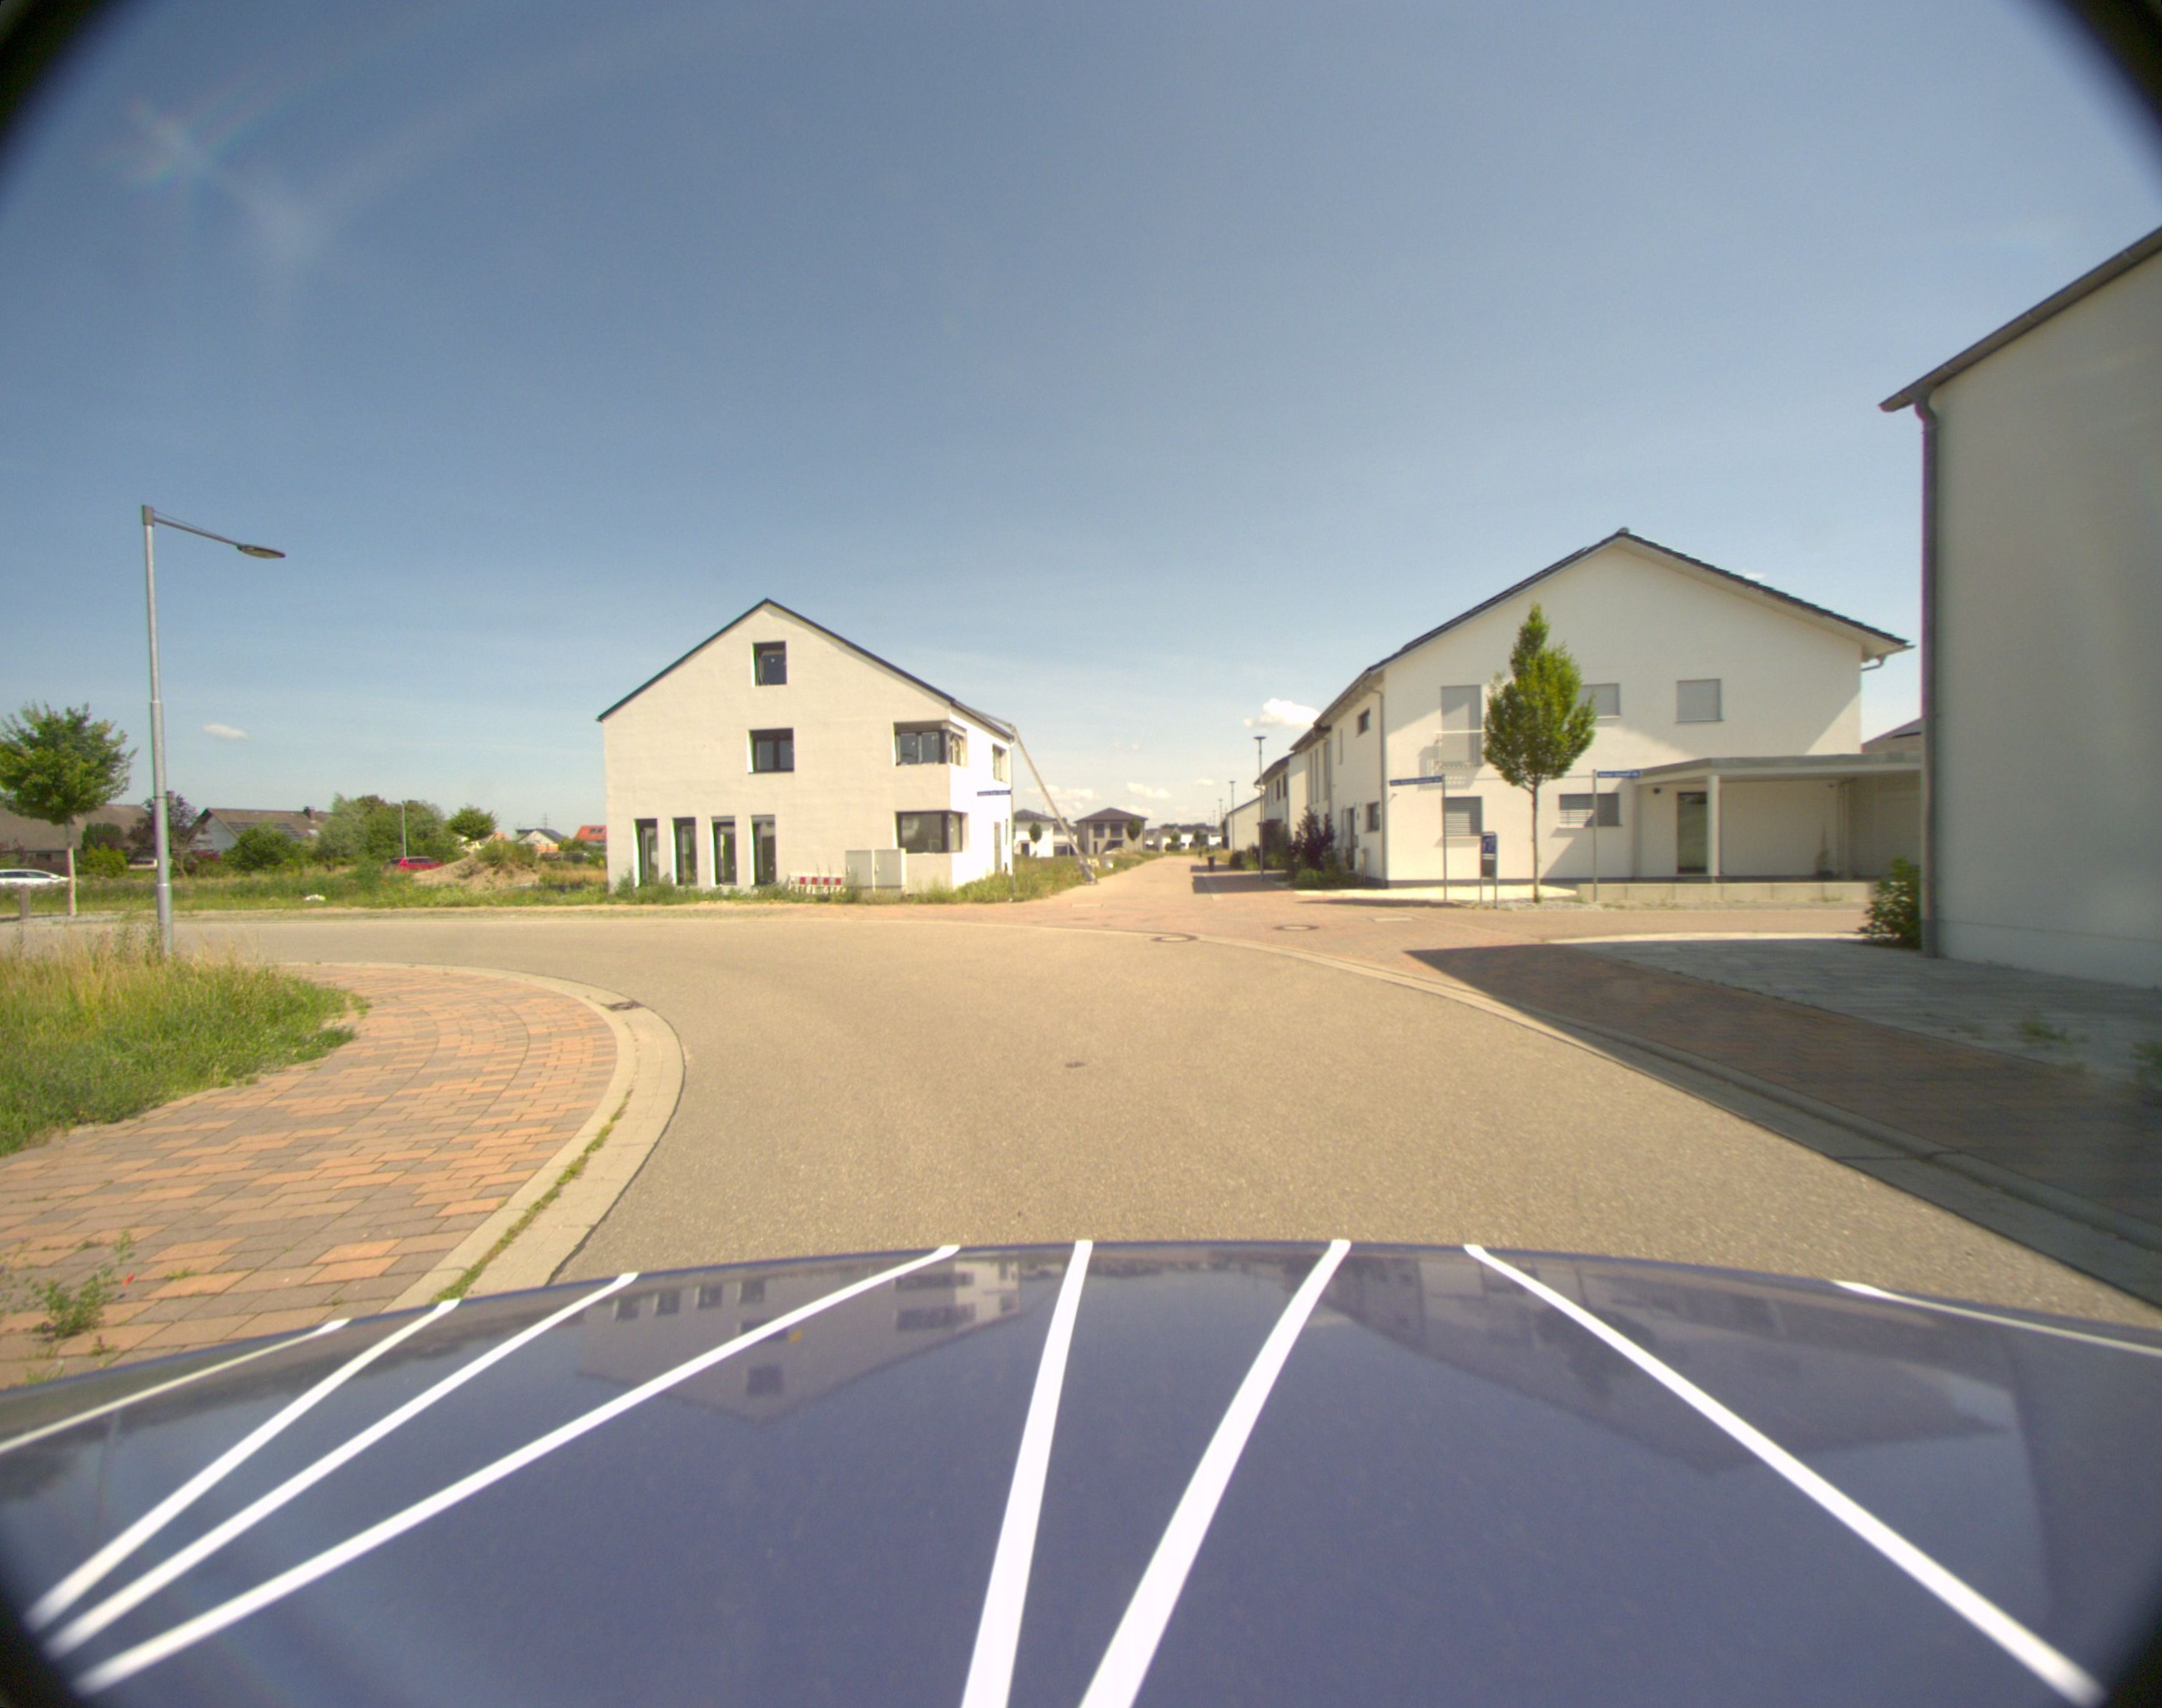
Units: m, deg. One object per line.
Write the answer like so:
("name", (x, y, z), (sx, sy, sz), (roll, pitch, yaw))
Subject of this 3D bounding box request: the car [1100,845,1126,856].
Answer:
("car", (4.955, -0.578, 118.437), (3.997, 1.543, 1.834), (-1, 1, 1))

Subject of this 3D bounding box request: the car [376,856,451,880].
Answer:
("car", (-50.591, 1.031, 57.706), (1.807, 1.607, 4.002), (-1, 1, 8))

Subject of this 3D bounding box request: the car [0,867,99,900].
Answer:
("car", (-53.712, 1.499, 38.743), (1.806, 1.494, 4.003), (-1, 1, 12))

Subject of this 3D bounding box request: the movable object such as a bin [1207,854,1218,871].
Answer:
("movable object such as a bin", (7.451, 0.484, 42.991), (0.597, 0.916, 0.462), (-1, 1, 9))
